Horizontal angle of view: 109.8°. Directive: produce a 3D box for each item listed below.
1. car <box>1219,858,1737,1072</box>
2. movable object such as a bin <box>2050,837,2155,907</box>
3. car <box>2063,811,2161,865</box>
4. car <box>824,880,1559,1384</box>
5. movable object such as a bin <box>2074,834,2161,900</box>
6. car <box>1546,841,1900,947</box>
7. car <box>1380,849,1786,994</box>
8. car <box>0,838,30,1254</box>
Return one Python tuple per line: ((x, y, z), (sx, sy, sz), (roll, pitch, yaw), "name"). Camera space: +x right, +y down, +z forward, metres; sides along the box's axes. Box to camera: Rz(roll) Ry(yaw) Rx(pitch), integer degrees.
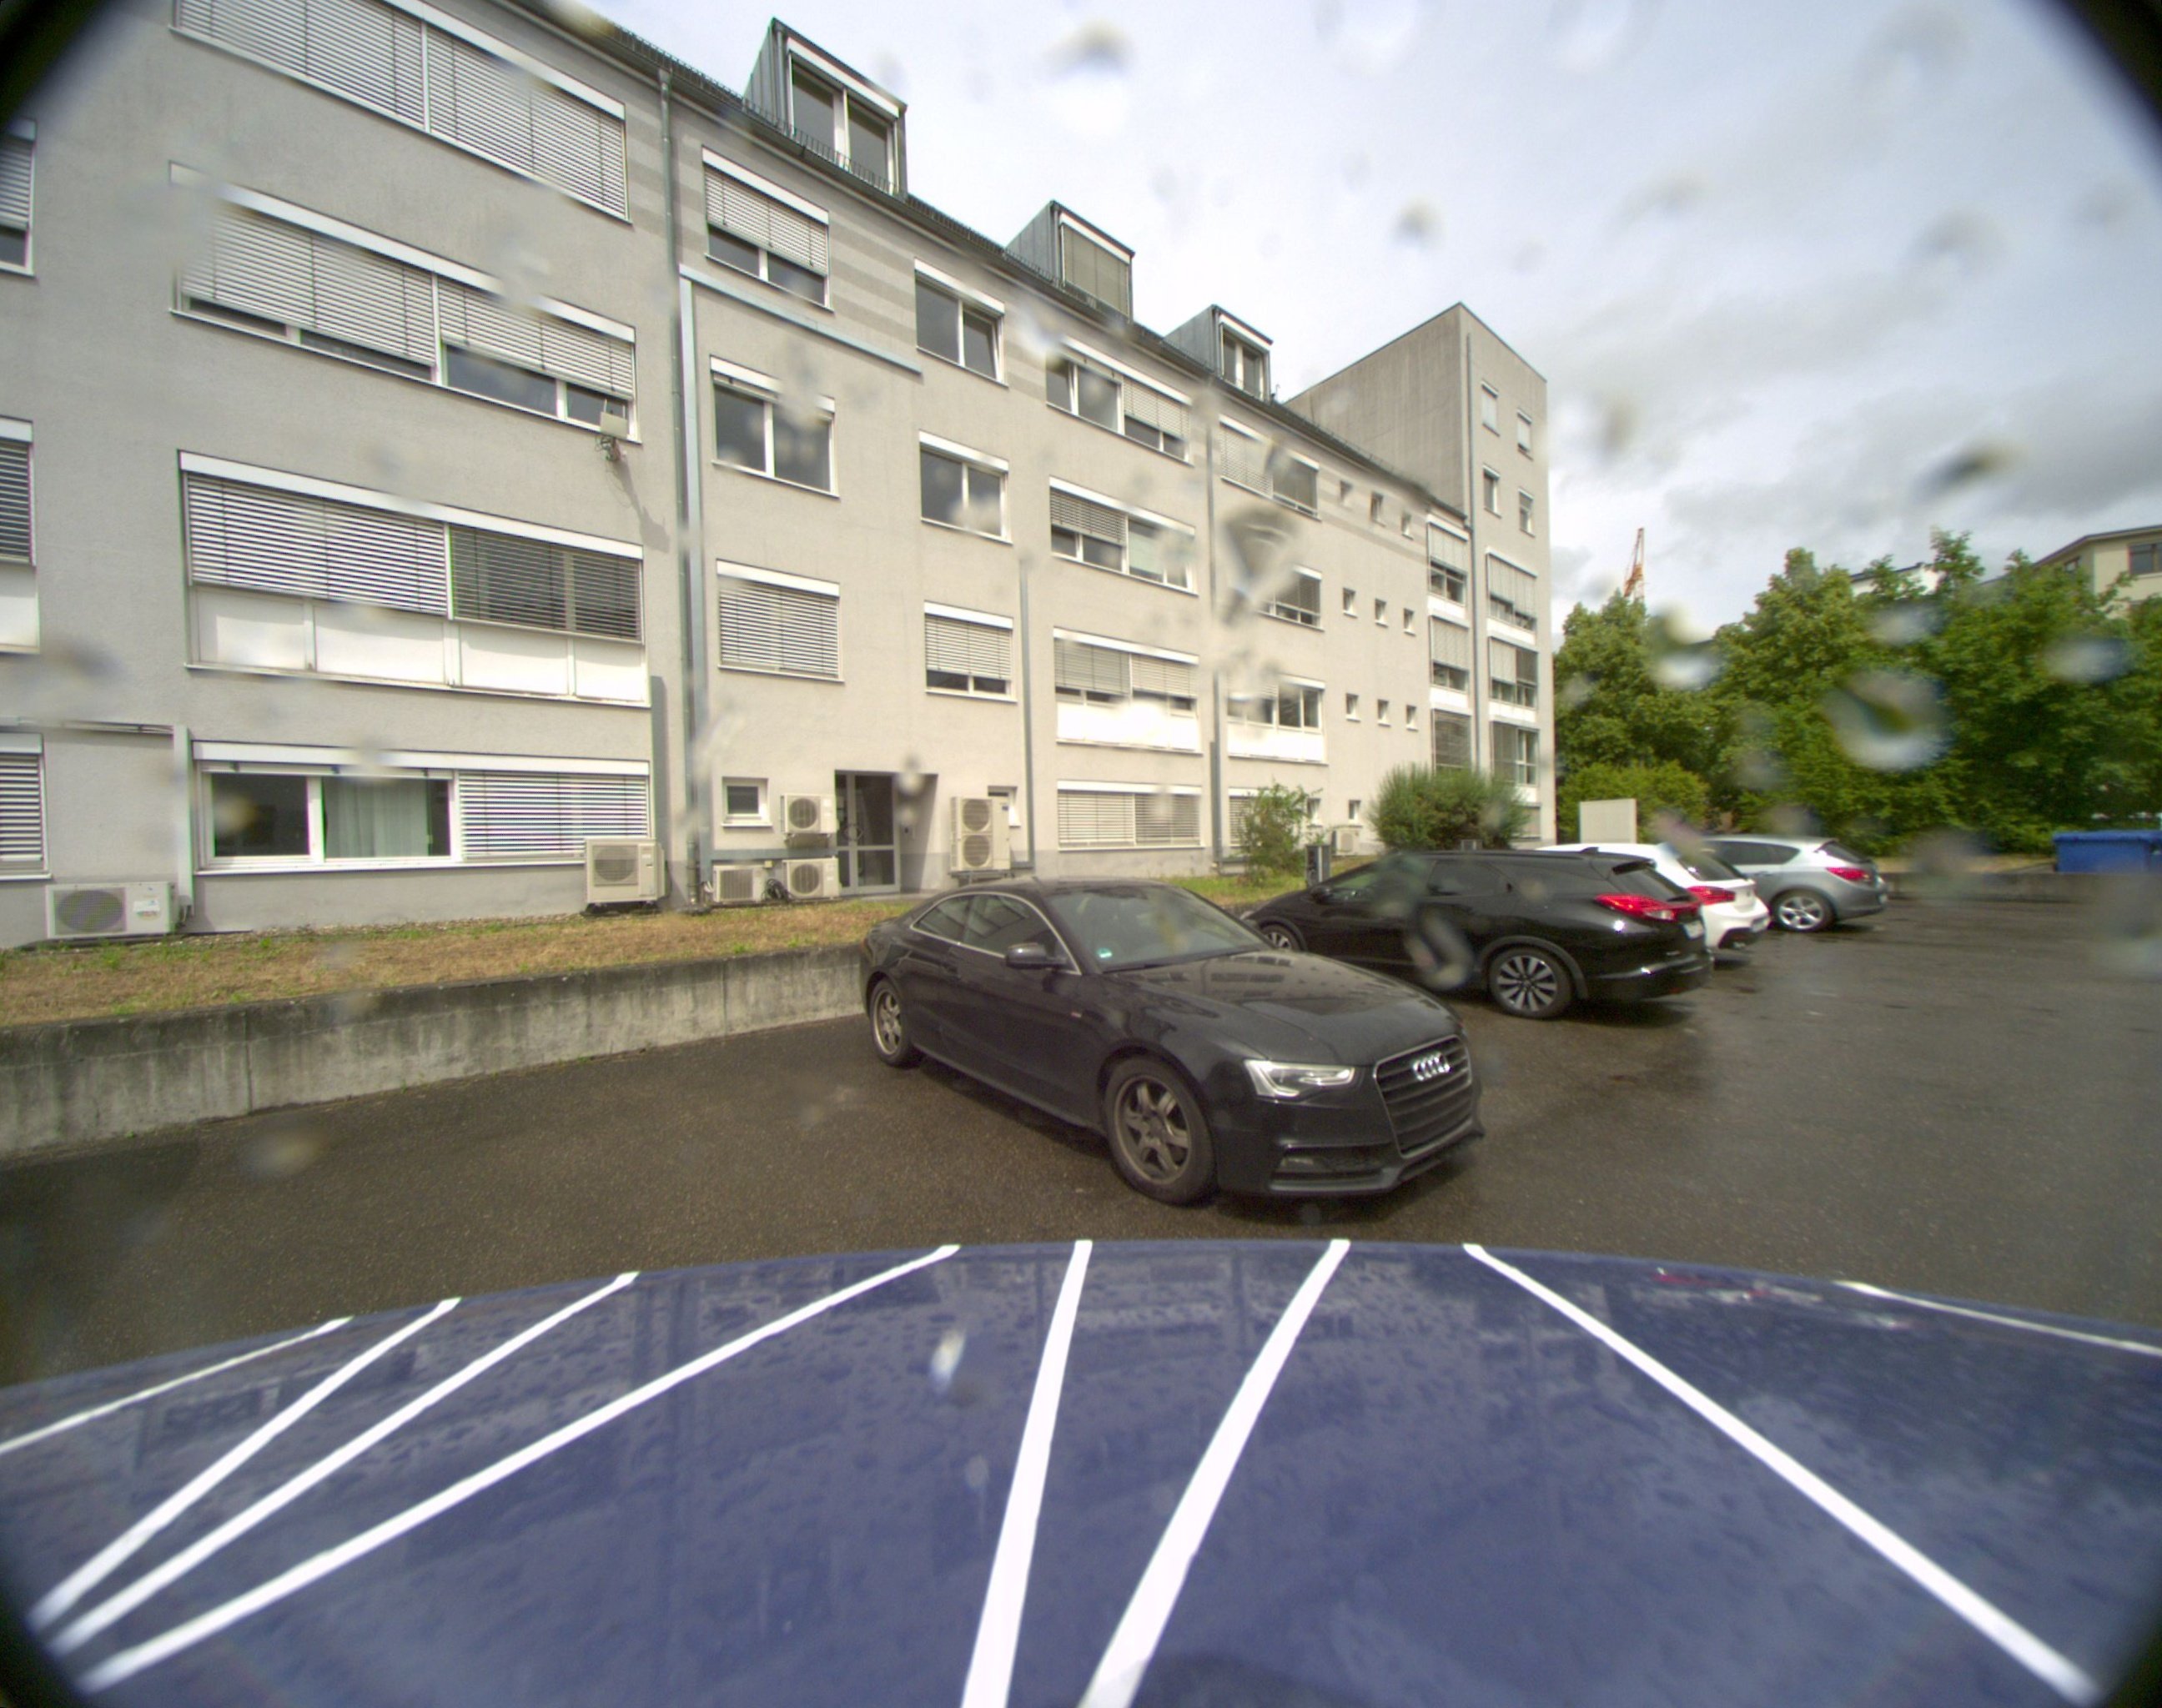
((3.662, 0.816, 7.720), (1.766, 1.434, 4.303), (-3, 2, -39), "car")
((20.689, 0.346, 15.402), (1.210, 1.321, 1.129), (-3, 1, -30), "movable object such as a bin")
((35.253, -0.542, 24.388), (1.725, 1.717, 4.325), (-3, 1, -28), "car")
((0.100, 0.962, 4.709), (1.766, 1.344, 4.516), (-3, 2, -38), "car")
((22.207, 0.259, 16.188), (1.210, 1.321, 1.129), (-3, 1, -30), "movable object such as a bin")
((10.552, 0.529, 12.806), (1.766, 1.434, 4.303), (-3, 2, -39), "car")
((6.290, 0.680, 9.974), (1.699, 1.434, 4.114), (-3, 2, -38), "car")
((-4.285, 0.899, 1.131), (1.974, 1.854, 4.734), (-3, 2, -39), "car")
